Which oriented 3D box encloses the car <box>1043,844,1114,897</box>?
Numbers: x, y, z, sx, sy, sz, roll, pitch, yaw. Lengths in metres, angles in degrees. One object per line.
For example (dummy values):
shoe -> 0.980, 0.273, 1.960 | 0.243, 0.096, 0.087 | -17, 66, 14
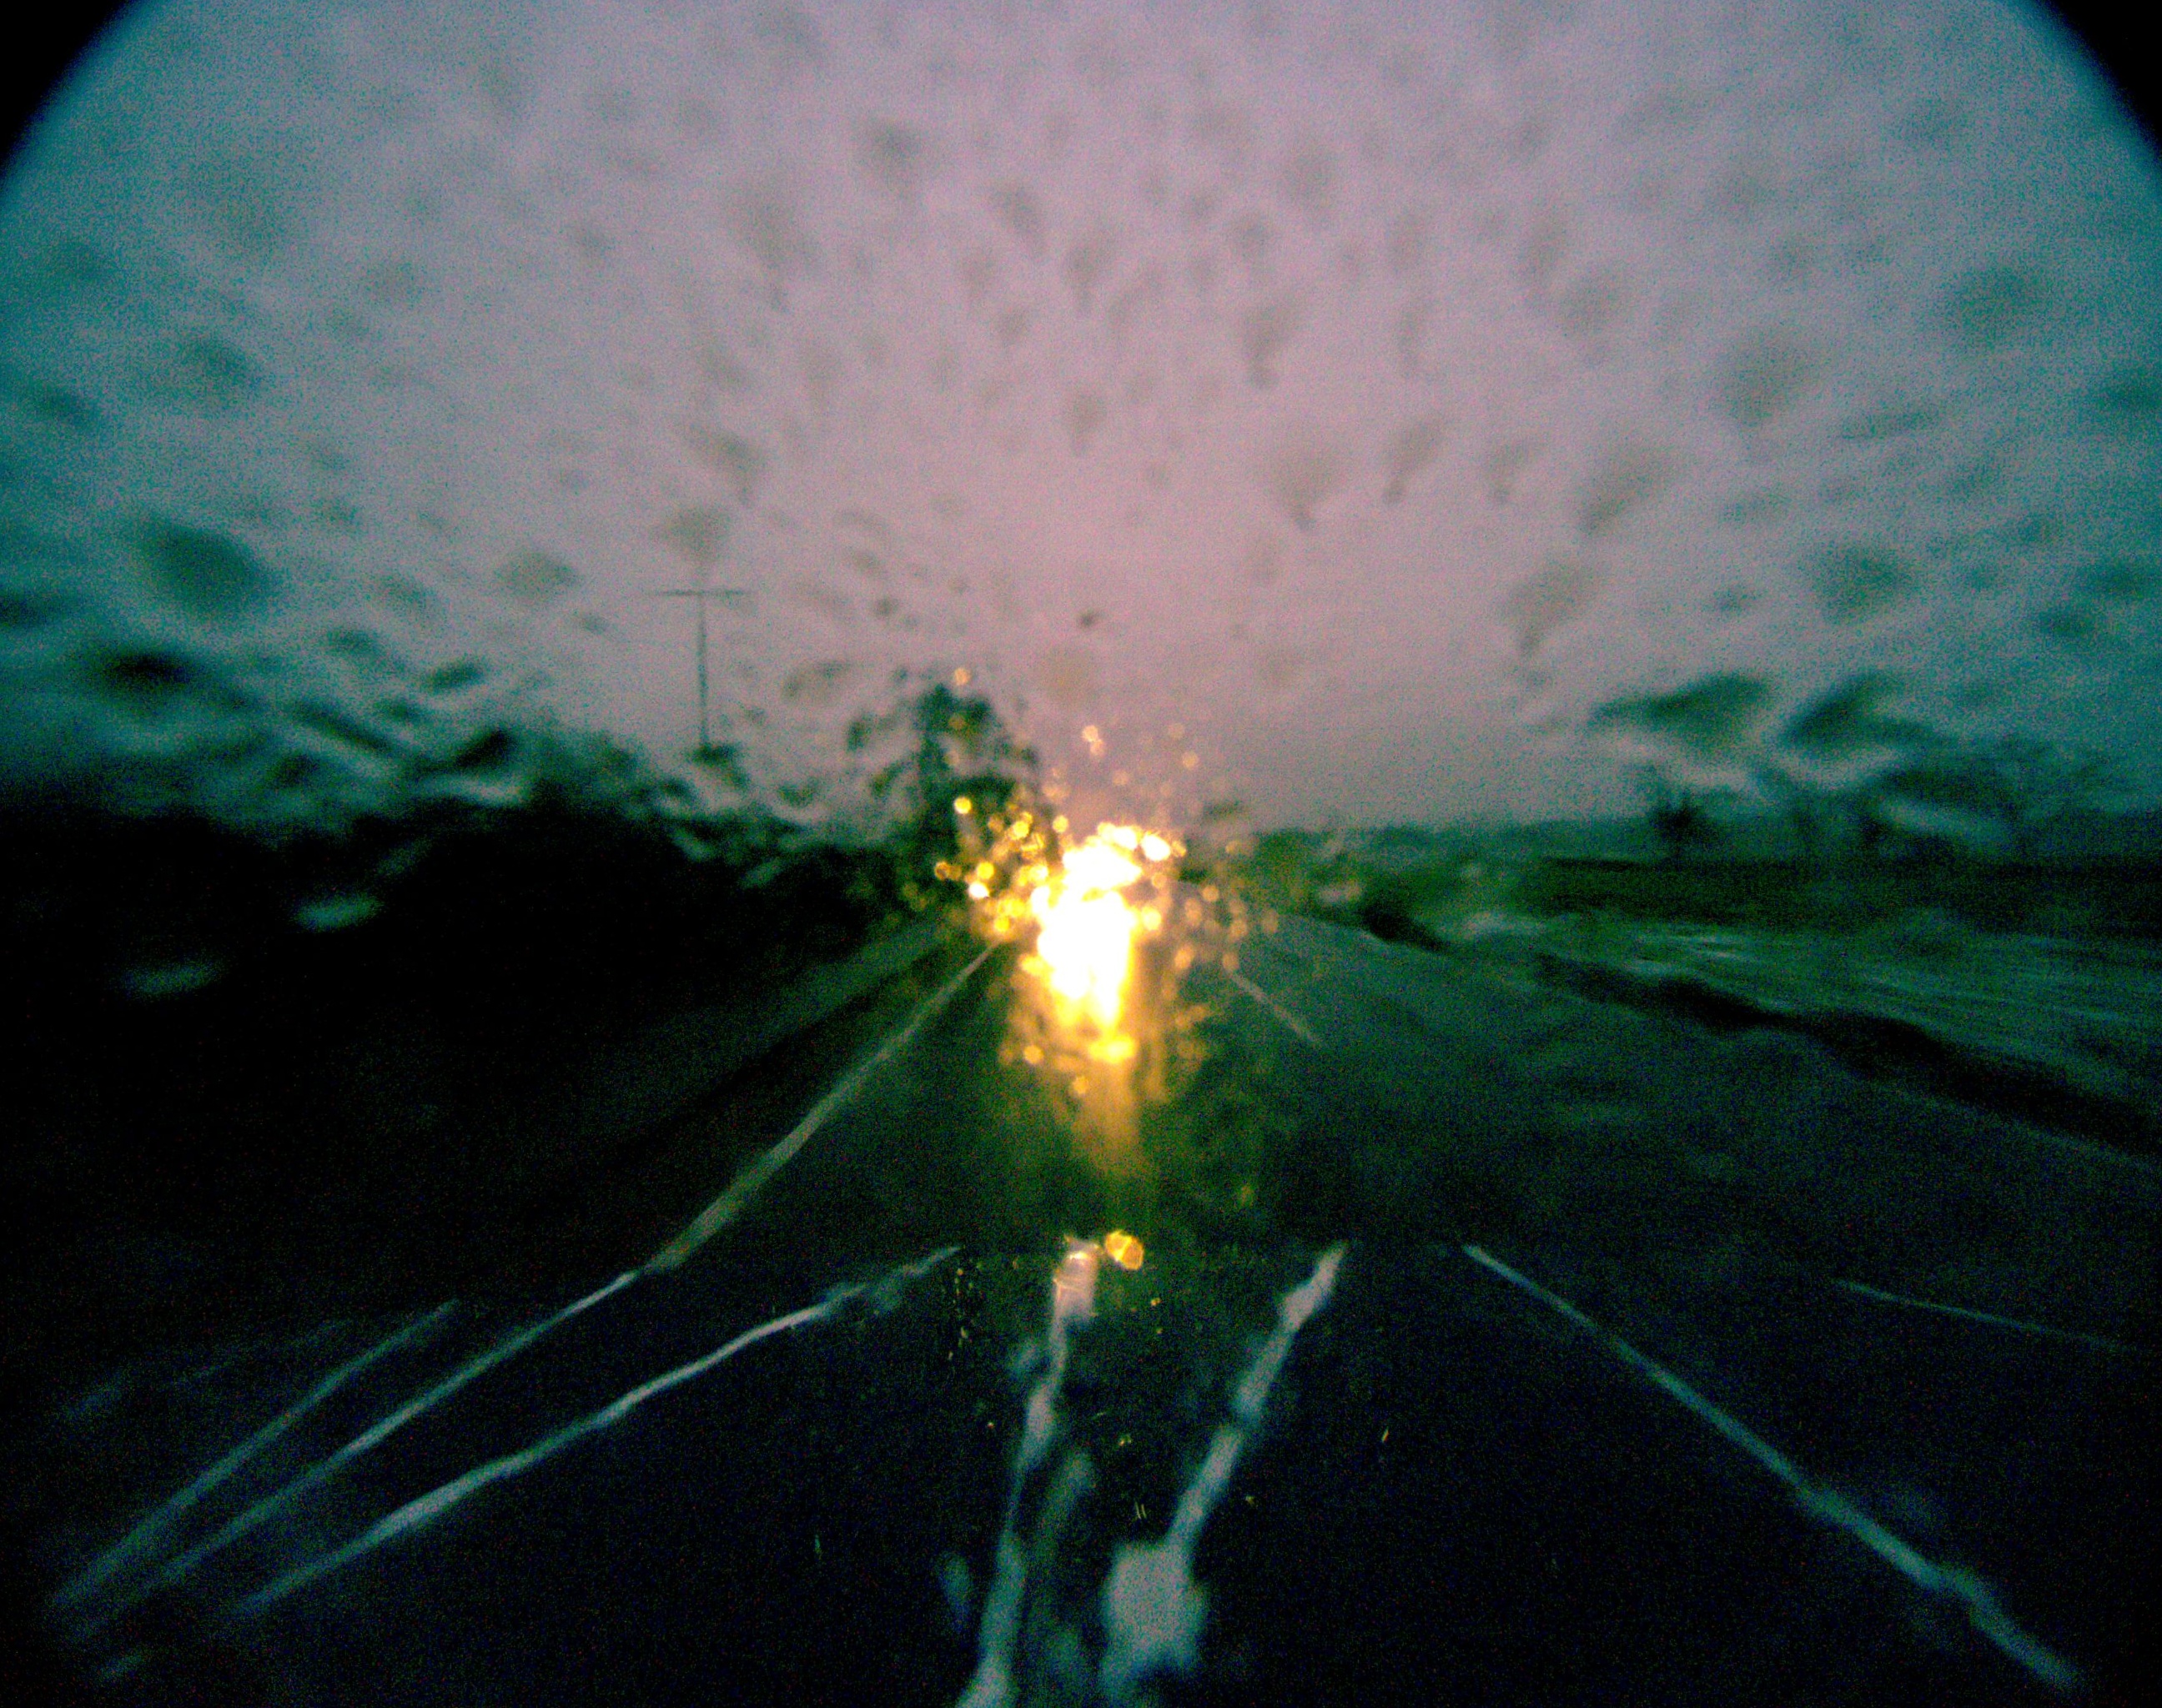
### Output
car -> -0.024, 0.609, 32.716 | 2.704, 1.974, 5.804 | -2, 1, 1
